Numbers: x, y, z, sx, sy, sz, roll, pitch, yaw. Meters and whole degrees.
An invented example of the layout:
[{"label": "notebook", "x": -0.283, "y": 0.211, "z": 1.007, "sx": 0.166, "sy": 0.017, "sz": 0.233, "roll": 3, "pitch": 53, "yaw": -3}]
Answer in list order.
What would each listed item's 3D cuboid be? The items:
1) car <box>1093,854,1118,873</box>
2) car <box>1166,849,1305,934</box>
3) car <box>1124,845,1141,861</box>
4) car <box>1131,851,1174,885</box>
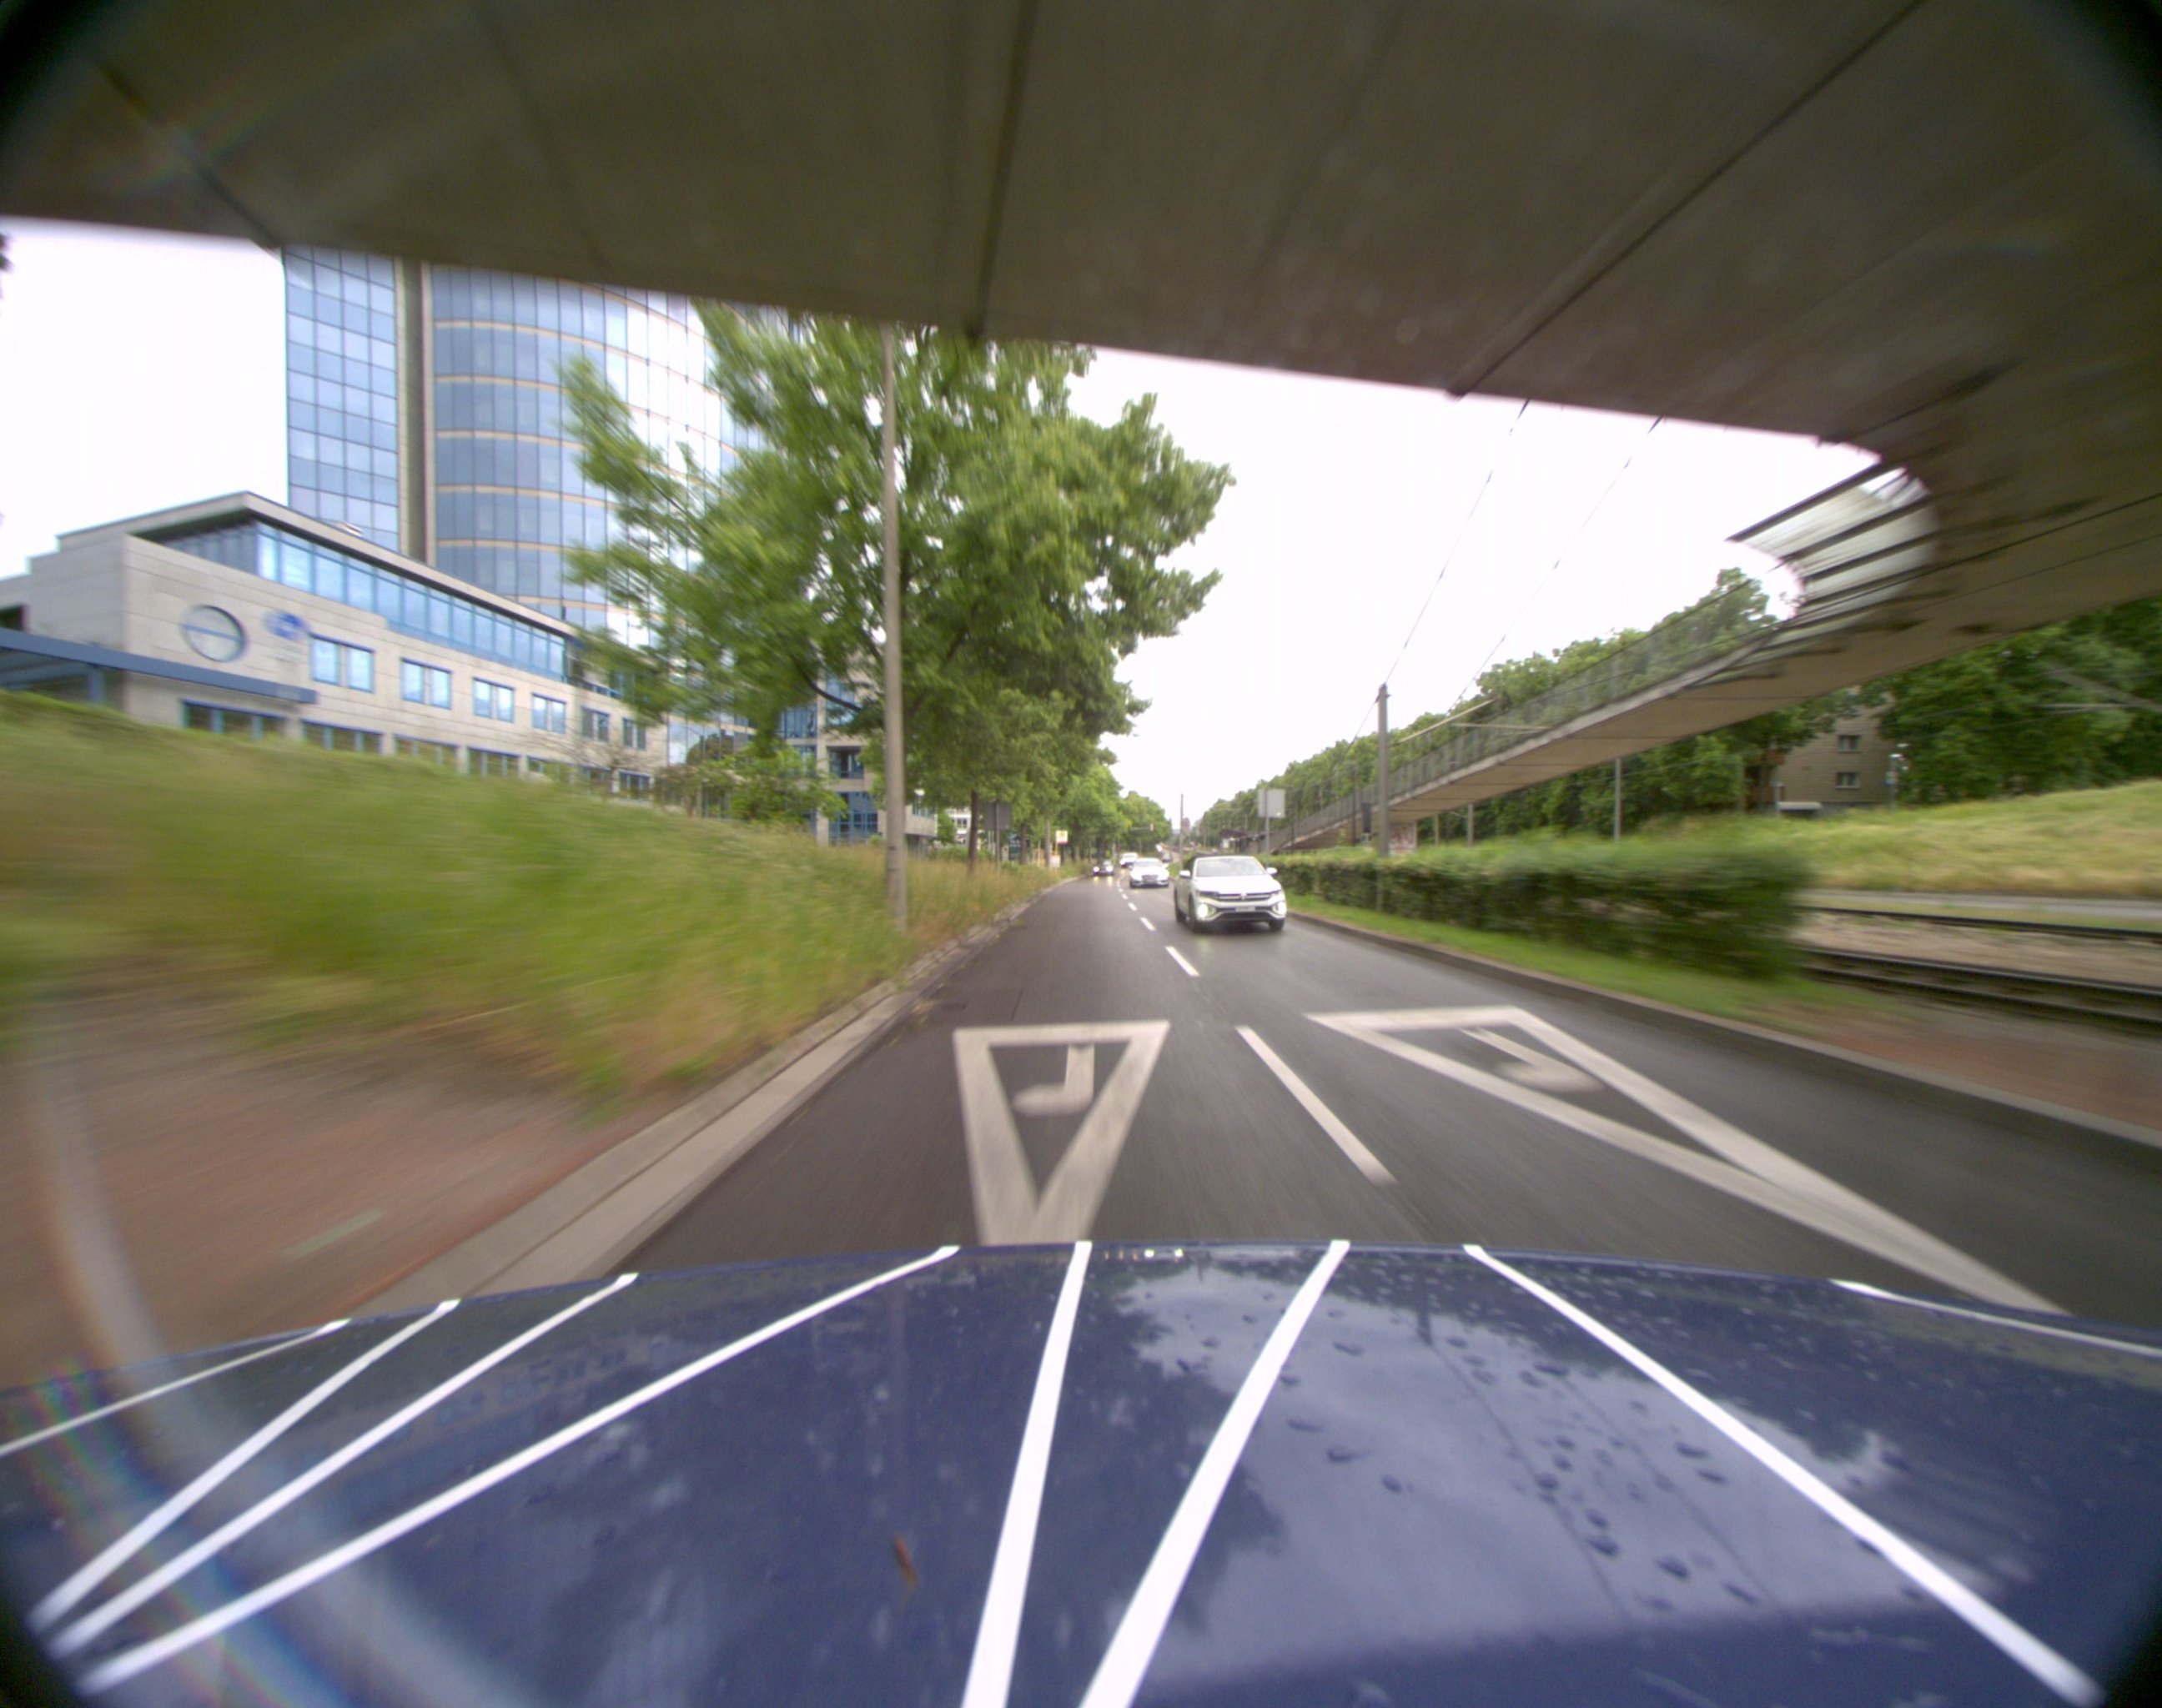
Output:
[{"label": "car", "x": 2.164, "y": 0.794, "z": 66.312, "sx": 1.960, "sy": 1.469, "sz": 4.700, "roll": -2, "pitch": 1, "yaw": 4}, {"label": "car", "x": 3.103, "y": 0.677, "z": 16.305, "sx": 1.960, "sy": 1.457, "sz": 4.698, "roll": -2, "pitch": 1, "yaw": 0}, {"label": "car", "x": 6.687, "y": -0.207, "z": 98.624, "sx": 1.959, "sy": 1.914, "sz": 4.846, "roll": -2, "pitch": 1, "yaw": 5}, {"label": "car", "x": 3.547, "y": 0.655, "z": 38.431, "sx": 1.960, "sy": 1.472, "sz": 4.700, "roll": -2, "pitch": 1, "yaw": 4}]
